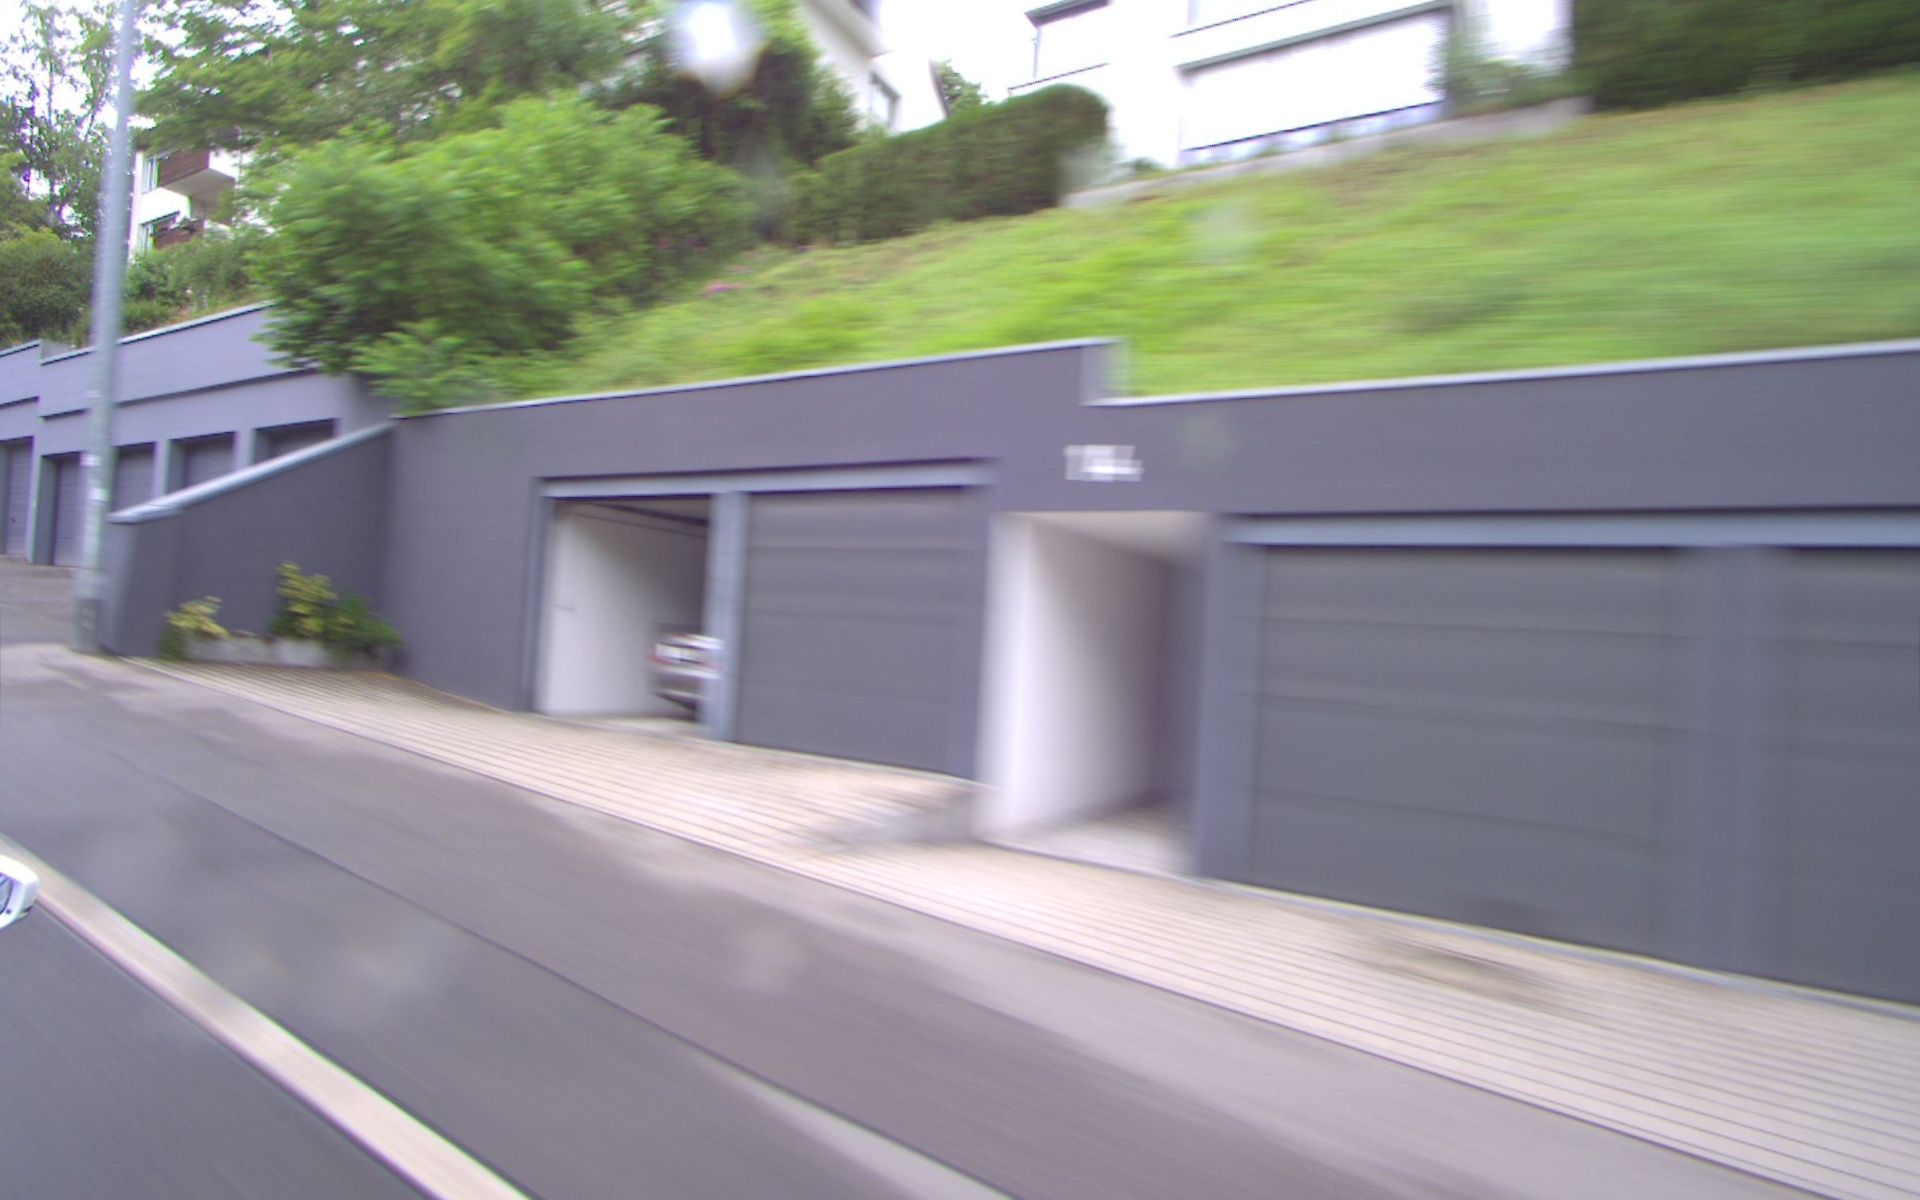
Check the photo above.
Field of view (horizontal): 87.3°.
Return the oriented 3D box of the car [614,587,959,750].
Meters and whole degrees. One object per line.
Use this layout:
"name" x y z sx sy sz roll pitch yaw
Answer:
"car" -1.888 0.864 11.820 1.633 1.434 3.683 2 -7 42
